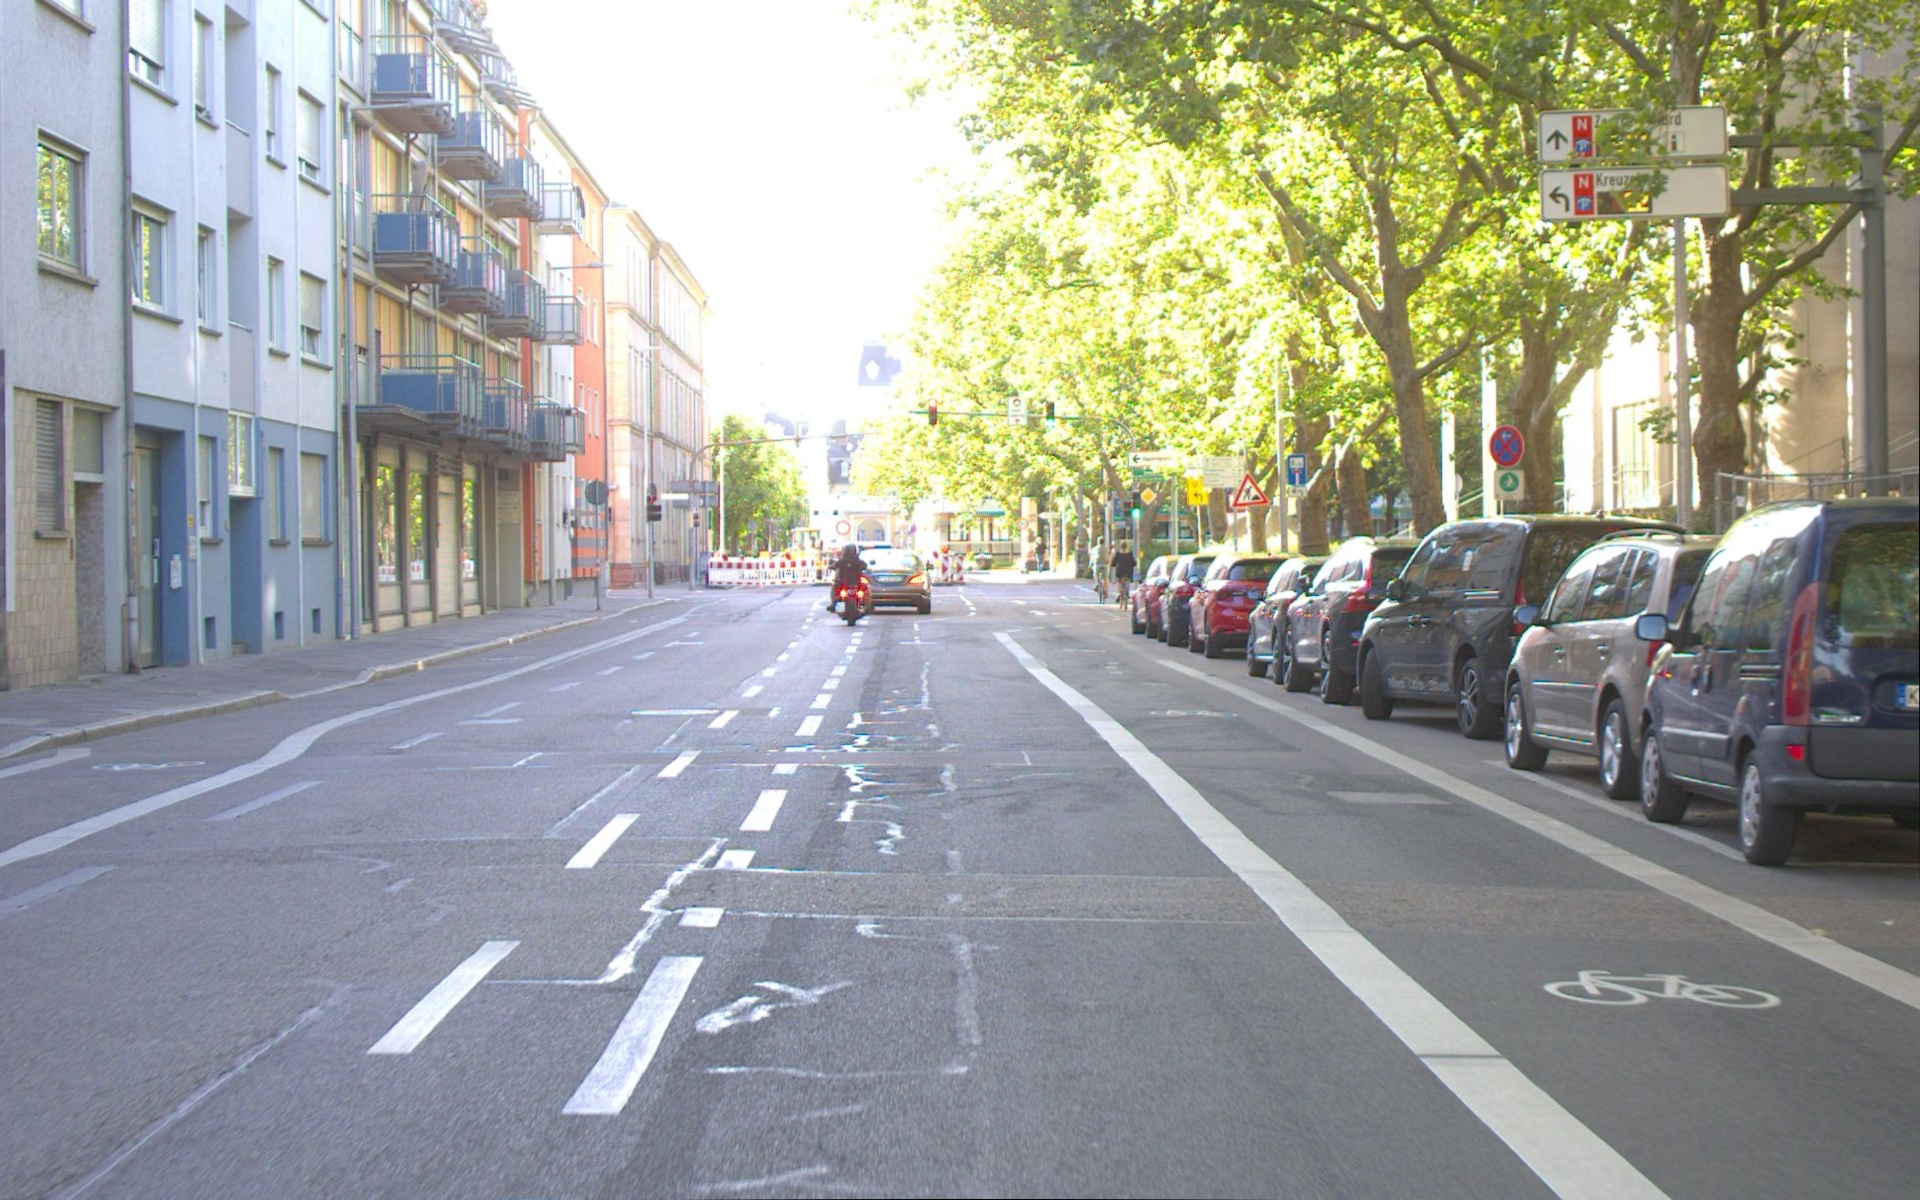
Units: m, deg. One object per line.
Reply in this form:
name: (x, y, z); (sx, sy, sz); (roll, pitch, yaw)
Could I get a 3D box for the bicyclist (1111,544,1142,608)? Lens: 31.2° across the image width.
bicyclist: (3.992, -0.583, 82.470); (0.656, 1.525, 0.852); (1, 0, -2)

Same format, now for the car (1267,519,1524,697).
car: (4.305, 0.039, 34.680); (1.775, 1.622, 4.621); (2, 1, -2)

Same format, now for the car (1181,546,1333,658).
car: (4.187, -0.003, 49.011); (1.693, 1.474, 4.319); (2, 1, -1)

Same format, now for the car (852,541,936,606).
car: (-1.504, -0.617, 77.039); (1.828, 1.415, 3.815); (0, 1, -2)

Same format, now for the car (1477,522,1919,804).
car: (4.690, 0.337, 22.473); (1.692, 1.622, 4.331); (2, 1, -3)

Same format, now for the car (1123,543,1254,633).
car: (3.909, -0.230, 59.492); (1.692, 1.444, 4.437); (2, 1, -3)

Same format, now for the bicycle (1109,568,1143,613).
bicycle: (3.982, -0.231, 82.520); (0.656, 1.066, 1.927); (1, 0, -2)

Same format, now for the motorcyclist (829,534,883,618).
motorcyclist: (-2.001, -0.477, 66.422); (1.012, 1.596, 1.406); (-1, 1, -2)

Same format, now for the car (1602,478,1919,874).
car: (4.597, 0.335, 17.931); (1.693, 1.806, 4.130); (2, 1, 0)

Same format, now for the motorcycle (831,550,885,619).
motorcycle: (-1.975, -0.315, 66.464); (1.012, 1.302, 2.673); (-1, 1, -2)

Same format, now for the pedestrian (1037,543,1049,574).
pedestrian: (4.224, -2.094, 175.344); (0.592, 1.573, 0.527); (1, 0, -1)

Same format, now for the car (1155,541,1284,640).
car: (4.075, -0.179, 54.507); (1.693, 1.461, 4.065); (2, 1, 0)

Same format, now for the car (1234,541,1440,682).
car: (4.295, 0.092, 39.723); (1.692, 1.498, 4.021); (2, 1, -3)

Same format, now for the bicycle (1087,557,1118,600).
bicycle: (3.768, -0.574, 91.238); (0.656, 1.107, 2.186); (1, 0, -2)

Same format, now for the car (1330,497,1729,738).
car: (4.712, 0.092, 29.224); (1.824, 1.835, 4.901); (2, 1, -9)

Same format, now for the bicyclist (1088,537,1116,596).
bicyclist: (3.770, -0.888, 91.234); (0.656, 1.525, 0.906); (1, 0, -2)
